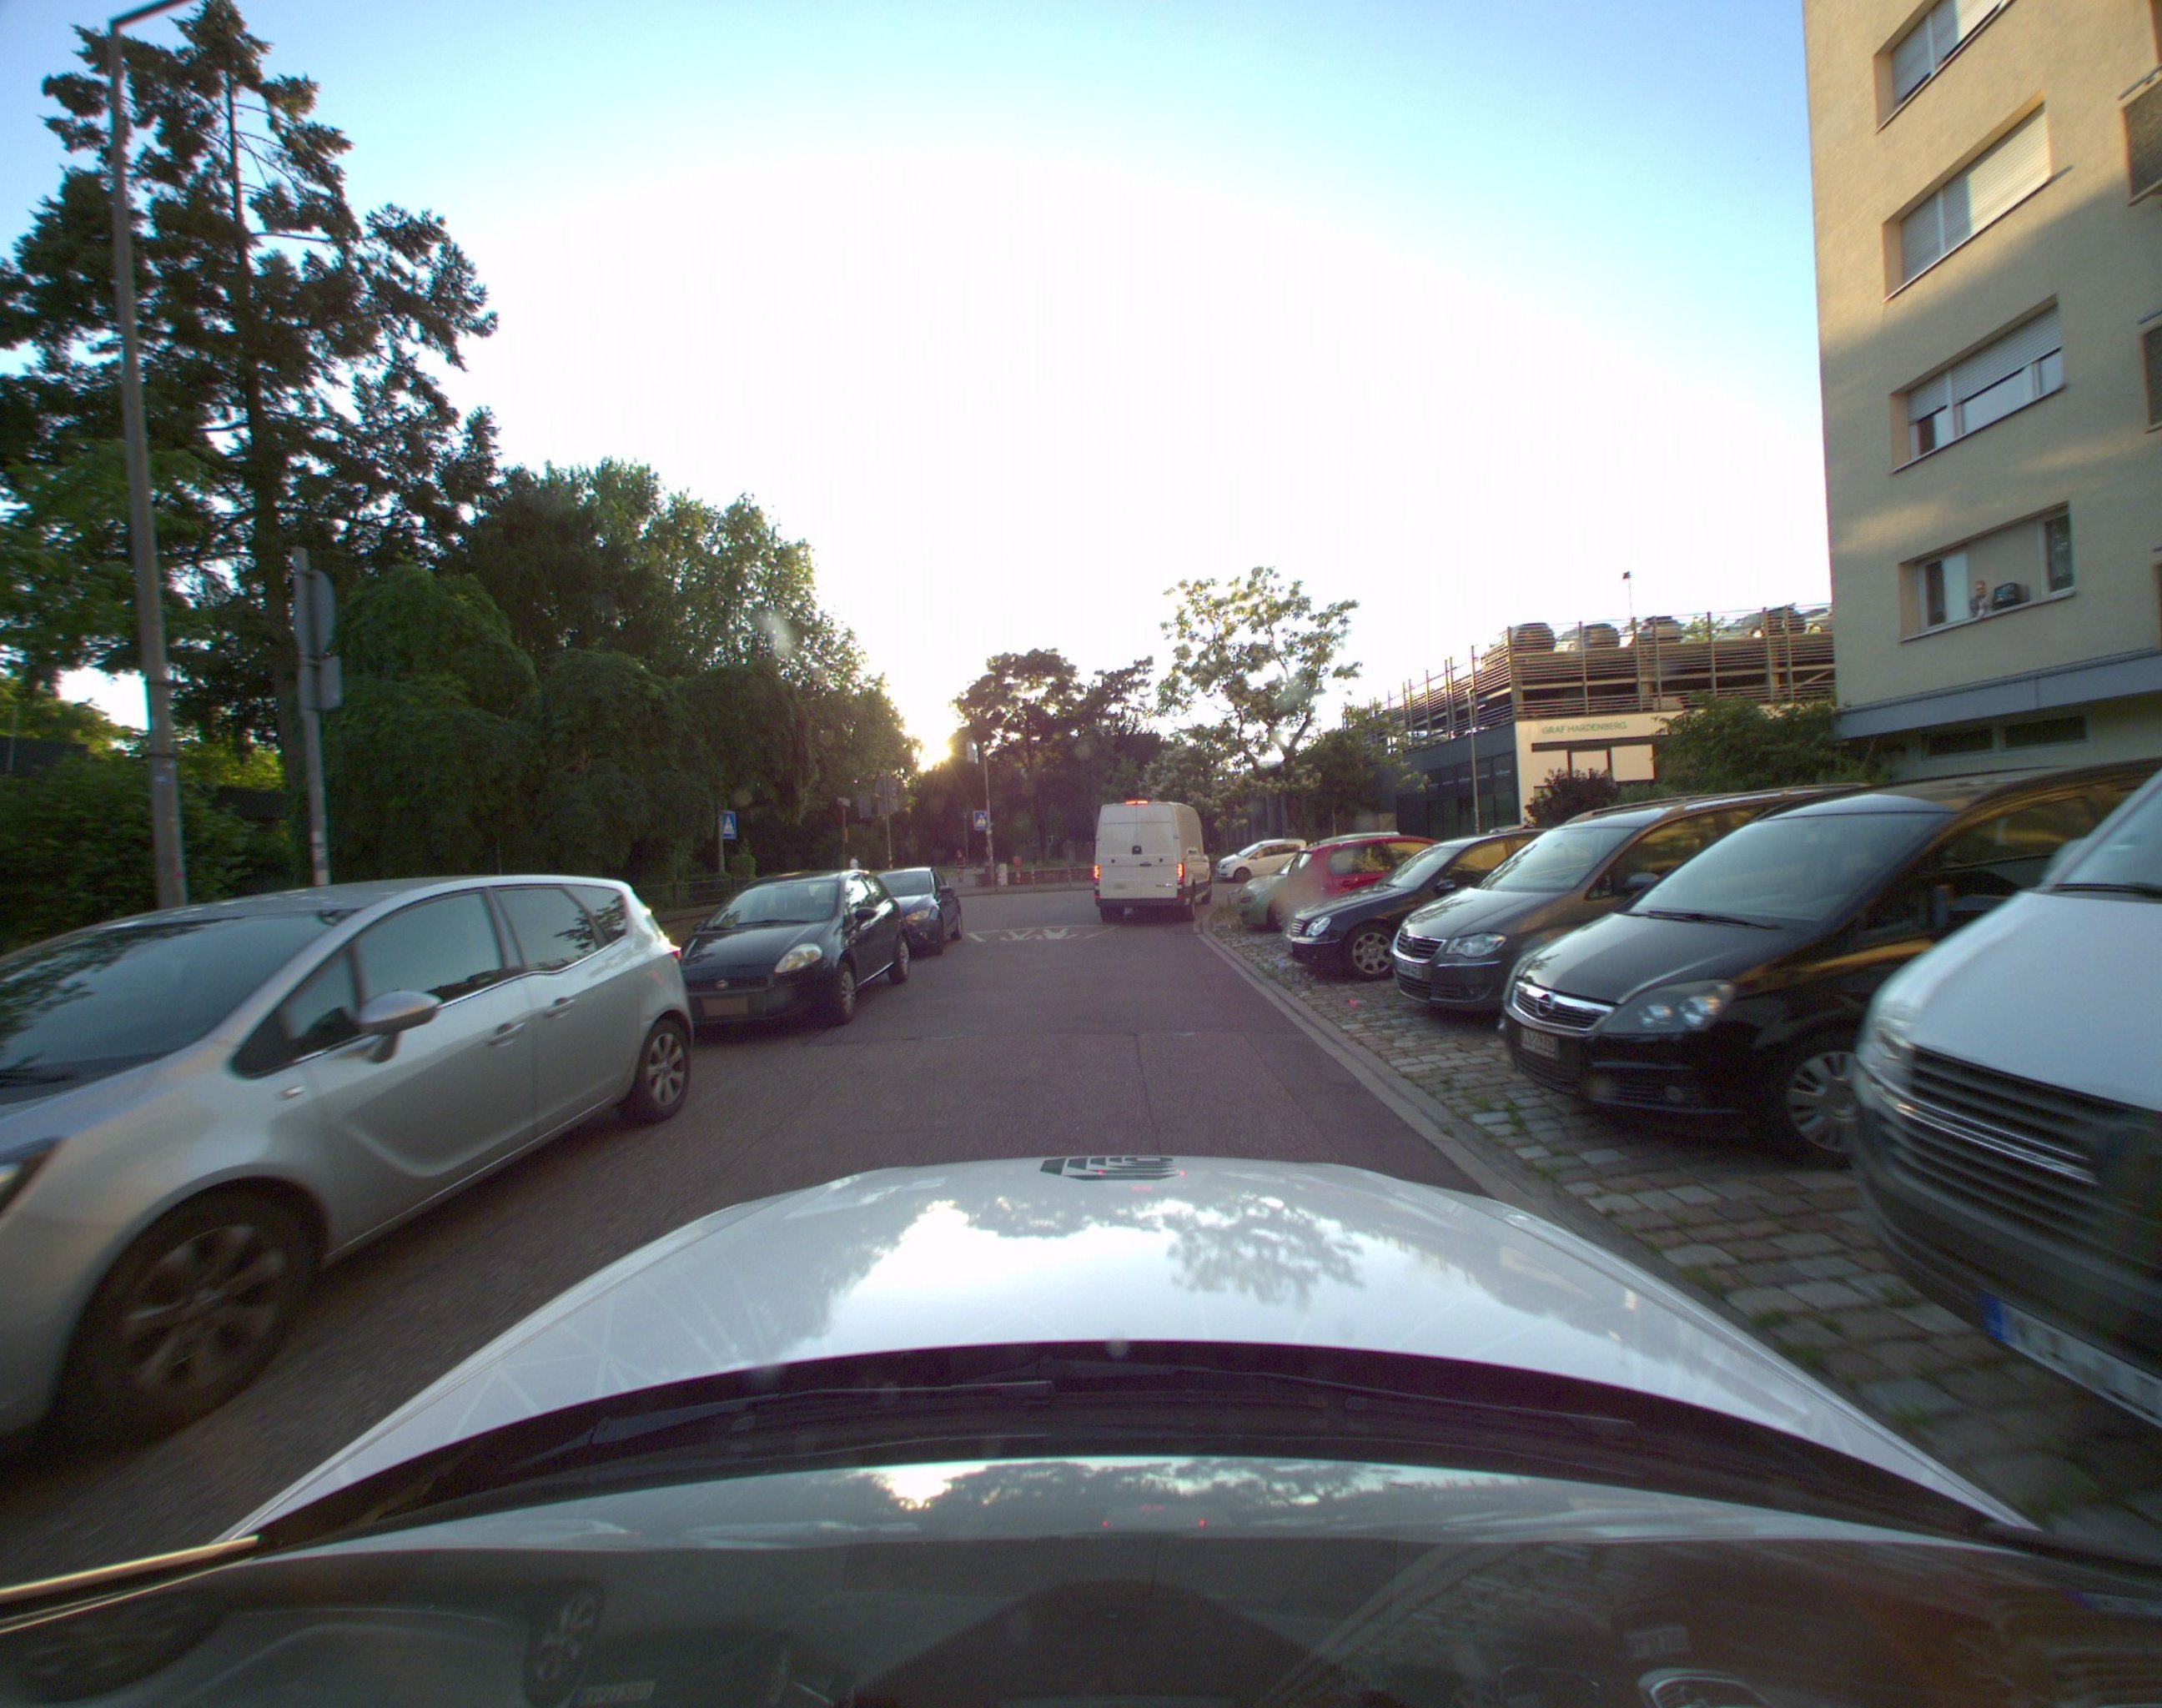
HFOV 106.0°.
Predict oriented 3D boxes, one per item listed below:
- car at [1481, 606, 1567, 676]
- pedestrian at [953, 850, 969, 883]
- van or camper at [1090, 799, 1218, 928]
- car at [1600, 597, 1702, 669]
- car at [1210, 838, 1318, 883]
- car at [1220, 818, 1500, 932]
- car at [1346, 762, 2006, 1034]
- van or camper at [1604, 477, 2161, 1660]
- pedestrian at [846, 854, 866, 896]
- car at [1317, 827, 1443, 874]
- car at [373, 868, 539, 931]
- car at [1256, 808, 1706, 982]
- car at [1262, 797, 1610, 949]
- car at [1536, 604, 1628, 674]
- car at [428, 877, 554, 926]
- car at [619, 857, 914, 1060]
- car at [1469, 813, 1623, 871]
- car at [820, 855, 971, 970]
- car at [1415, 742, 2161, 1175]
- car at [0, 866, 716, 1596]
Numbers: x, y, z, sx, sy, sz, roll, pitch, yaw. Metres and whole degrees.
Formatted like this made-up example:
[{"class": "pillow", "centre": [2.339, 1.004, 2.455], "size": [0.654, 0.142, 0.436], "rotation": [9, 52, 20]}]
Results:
[{"class": "car", "centre": [19.970, -9.562, 36.894], "size": [1.983, 2.013, 4.007], "rotation": [-2, 0, 6]}, {"class": "pedestrian", "centre": [-6.234, 0.648, 42.279], "size": [0.644, 1.648, 0.674], "rotation": [-1, 0, 1]}, {"class": "van or camper", "centre": [2.009, 0.165, 19.841], "size": [1.979, 2.618, 6.429], "rotation": [0, 1, 15]}, {"class": "car", "centre": [25.235, -9.726, 36.225], "size": [1.983, 2.013, 4.007], "rotation": [-2, 0, 6]}, {"class": "car", "centre": [7.266, 0.252, 32.656], "size": [3.843, 1.574, 1.957], "rotation": [-2, 0, -1]}, {"class": "car", "centre": [4.960, 0.389, 14.912], "size": [4.391, 1.631, 1.844], "rotation": [-4, -2, -2]}, {"class": "car", "centre": [4.900, 0.353, 7.196], "size": [4.392, 1.661, 1.844], "rotation": [-6, -2, -2]}, {"class": "van or camper", "centre": [4.465, 0.158, 1.832], "size": [5.118, 2.167, 2.039], "rotation": [-7, 0, -1]}, {"class": "pedestrian", "centre": [-9.869, 0.926, 35.734], "size": [0.591, 1.809, 0.621], "rotation": [-2, 0, 2]}, {"class": "car", "centre": [11.750, -0.146, 32.209], "size": [4.272, 1.503, 1.826], "rotation": [-4, 0, 5]}, {"class": "car", "centre": [-21.089, 1.538, 27.578], "size": [4.211, 1.799, 1.824], "rotation": [-4, -3, 3]}, {"class": "car", "centre": [4.527, 0.462, 9.722], "size": [4.391, 1.531, 1.844], "rotation": [-4, -2, -2]}, {"class": "car", "centre": [5.199, 0.277, 12.435], "size": [4.386, 1.631, 1.847], "rotation": [-7, 0, 3]}, {"class": "car", "centre": [22.534, -9.629, 36.825], "size": [1.983, 2.013, 4.007], "rotation": [-2, 0, 6]}, {"class": "car", "centre": [-24.990, 2.006, 34.573], "size": [3.852, 1.562, 1.826], "rotation": [-4, 6, 4]}, {"class": "car", "centre": [-3.060, 0.896, 8.812], "size": [1.729, 1.567, 3.695], "rotation": [-4, 0, -2]}, {"class": "car", "centre": [14.842, -0.363, 26.170], "size": [3.819, 1.523, 1.826], "rotation": [-4, 0, 5]}, {"class": "car", "centre": [-3.048, 0.886, 14.164], "size": [1.729, 1.567, 3.788], "rotation": [-4, 0, -2]}, {"class": "car", "centre": [4.449, 0.398, 4.559], "size": [4.314, 1.661, 1.780], "rotation": [-6, -2, -2]}, {"class": "car", "centre": [-3.387, 0.939, 3.520], "size": [1.729, 1.567, 4.127], "rotation": [-4, 0, -2]}]
